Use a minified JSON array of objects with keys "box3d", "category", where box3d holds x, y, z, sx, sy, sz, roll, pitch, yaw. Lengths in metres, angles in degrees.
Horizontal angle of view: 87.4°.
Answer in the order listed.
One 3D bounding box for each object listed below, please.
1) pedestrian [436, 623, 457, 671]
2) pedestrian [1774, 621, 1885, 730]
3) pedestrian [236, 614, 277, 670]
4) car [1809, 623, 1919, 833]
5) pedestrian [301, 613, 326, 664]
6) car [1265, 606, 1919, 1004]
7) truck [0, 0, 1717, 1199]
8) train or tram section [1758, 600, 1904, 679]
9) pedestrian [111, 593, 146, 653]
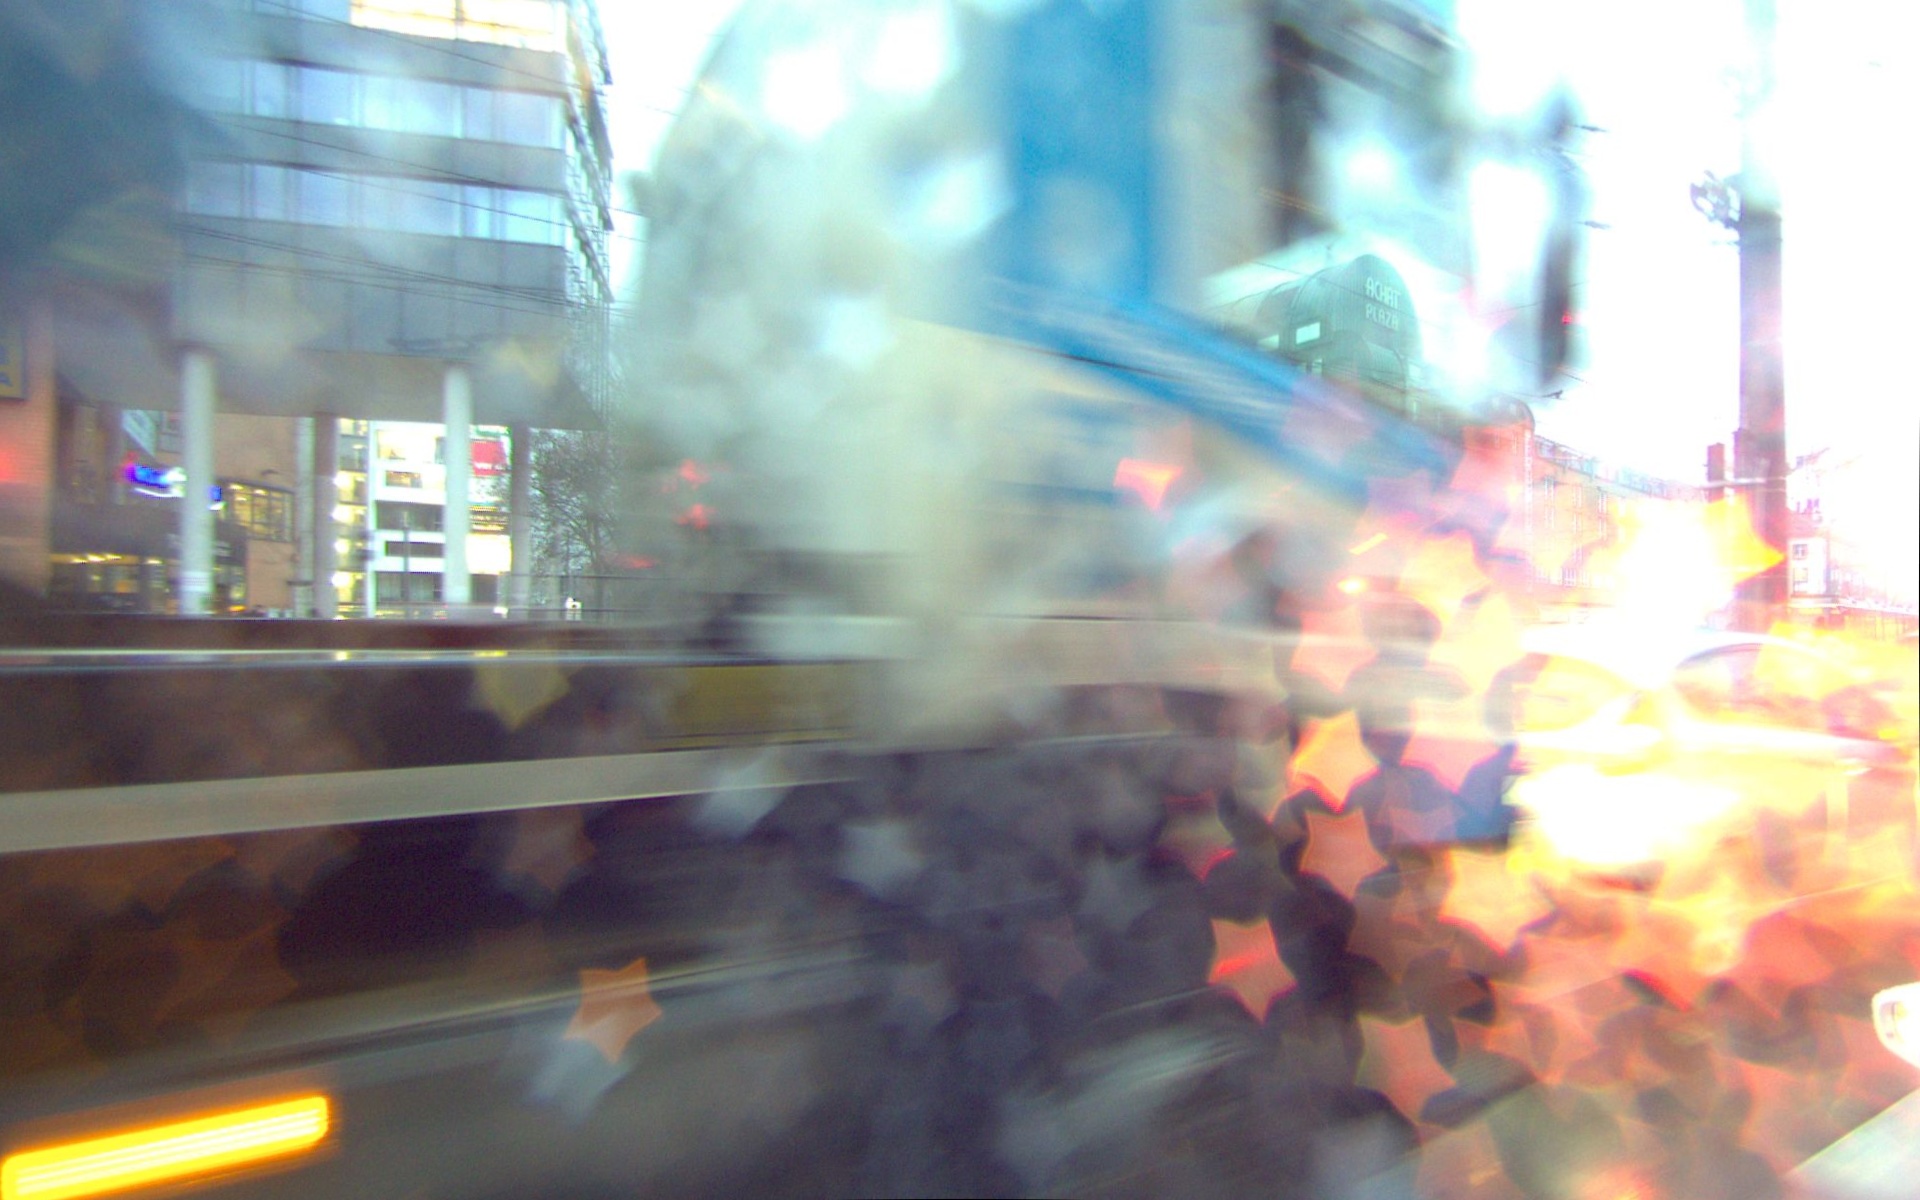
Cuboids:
[{"box3d":[-19.490,1.777,38.136,0.628,1.797,0.569,1,-2,-25],"category":"pedestrian"},{"box3d":[13.379,1.154,15.483,1.016,1.621,0.716,-1,-3,11],"category":"pedestrian"},{"box3d":[-22.782,1.349,32.530,0.690,1.775,0.794,0,-1,17],"category":"pedestrian"},{"box3d":[8.483,0.936,7.877,3.714,1.478,1.689,1,-2,-31],"category":"car"},{"box3d":[-22.828,1.354,35.469,0.697,1.775,0.566,1,-1,-33],"category":"pedestrian"},{"box3d":[3.734,0.830,5.491,3.952,1.467,1.697,2,0,-30],"category":"car"},{"box3d":[-2.027,-0.230,1.663,7.444,3.681,2.824,1,-2,-32],"category":"truck"},{"box3d":[47.732,2.129,54.591,19.905,3.662,2.841,2,-2,-40],"category":"train or tram section"},{"box3d":[-25.033,0.688,30.243,0.526,1.775,0.664,0,-1,30],"category":"pedestrian"}]
